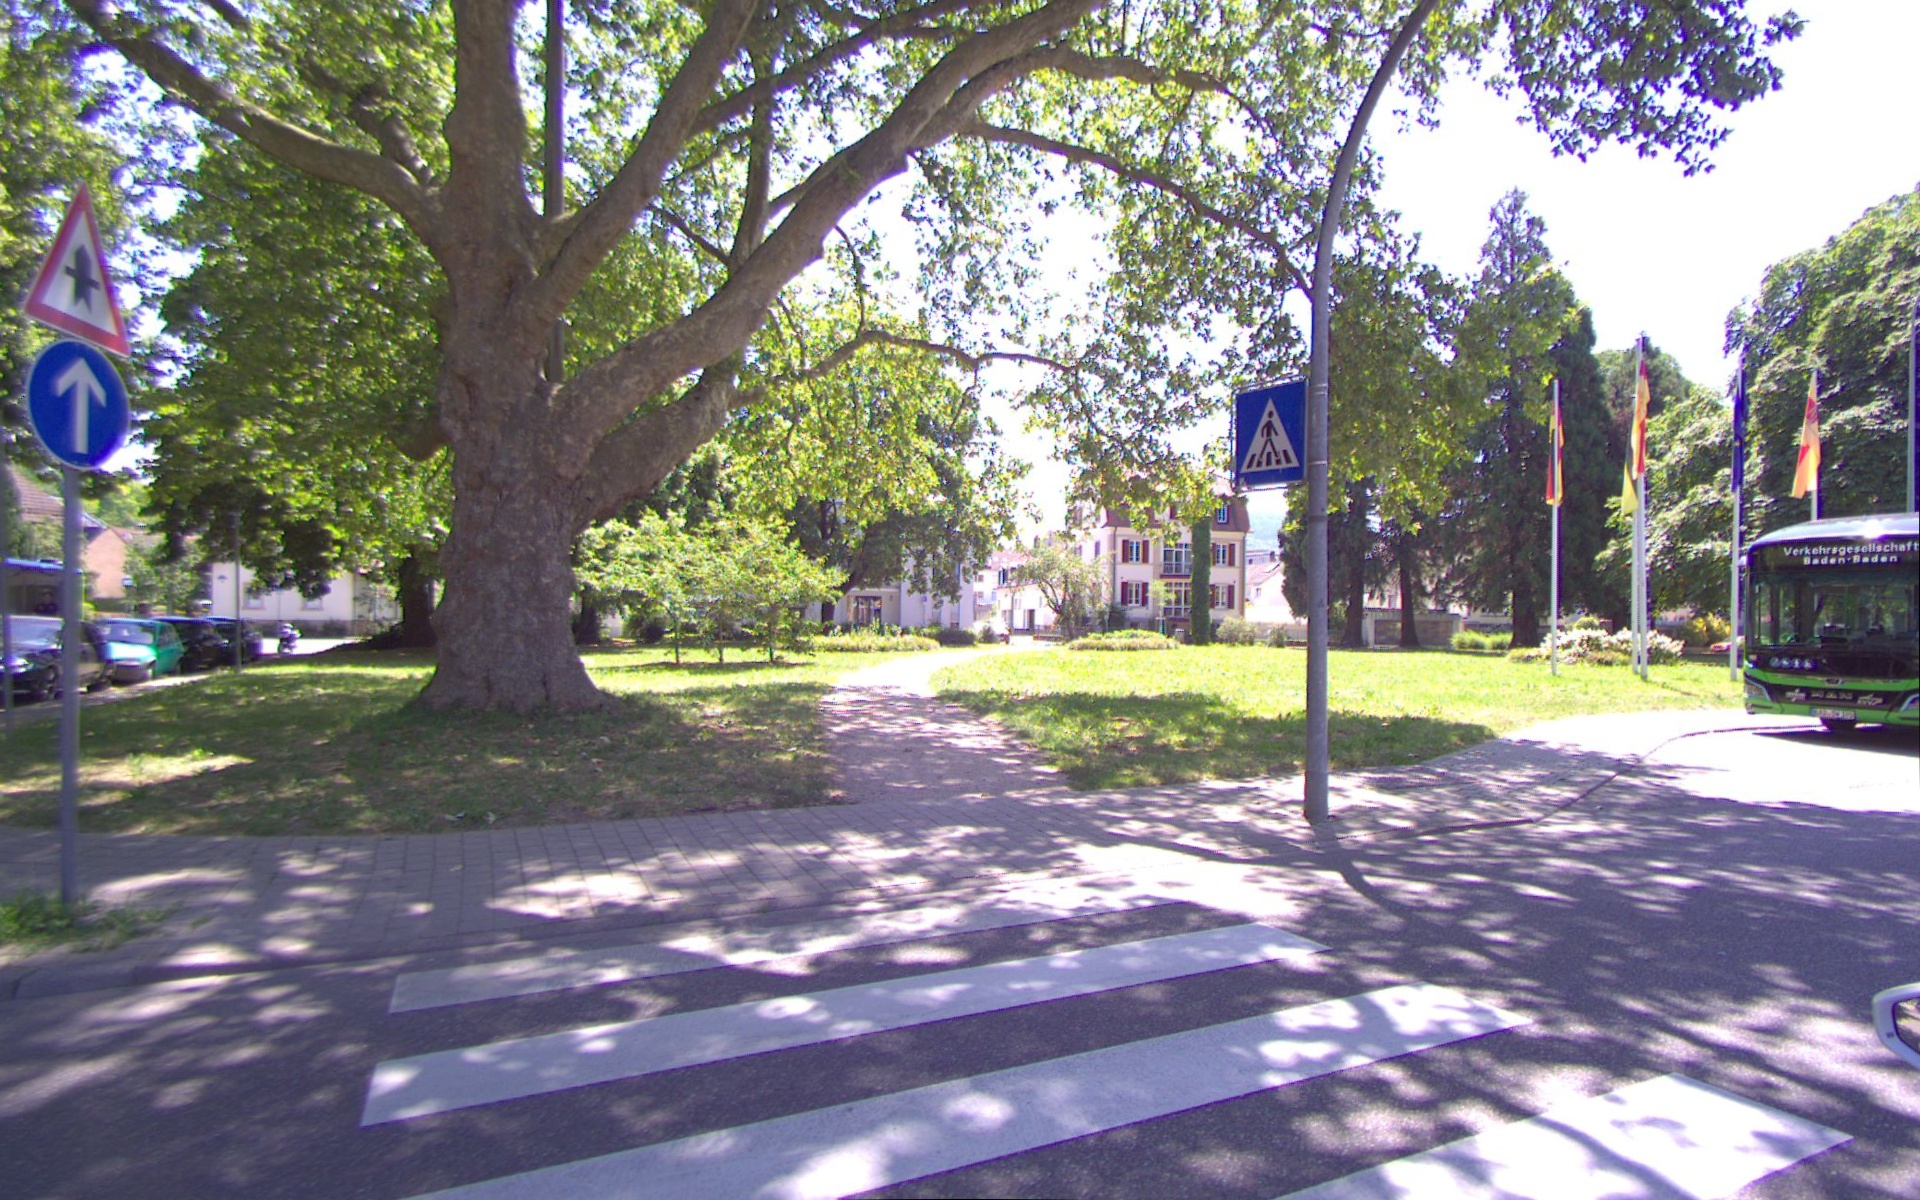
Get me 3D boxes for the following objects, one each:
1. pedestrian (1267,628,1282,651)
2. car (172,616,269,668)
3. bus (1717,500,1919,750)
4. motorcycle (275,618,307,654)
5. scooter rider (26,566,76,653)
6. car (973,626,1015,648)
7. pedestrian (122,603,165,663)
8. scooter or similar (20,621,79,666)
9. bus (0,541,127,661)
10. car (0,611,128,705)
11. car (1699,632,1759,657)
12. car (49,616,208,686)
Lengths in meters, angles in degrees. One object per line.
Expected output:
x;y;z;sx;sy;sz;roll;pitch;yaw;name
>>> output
19.706;2.476;62.921;0.811;1.389;0.618;3;1;24;pedestrian
-23.479;1.297;32.033;1.736;1.513;3.893;1;-1;-26;car
17.820;0.452;17.033;12.261;3.326;2.799;1;-1;-26;bus
-27.910;1.489;41.927;0.703;1.445;2.248;1;-1;-24;motorcycle
-25.150;0.267;27.795;0.730;2.348;0.922;1;-1;-23;scooter rider
2.612;2.903;77.597;1.969;1.604;3.985;2;-3;-18;car
-25.075;1.006;30.852;0.711;1.826;0.937;1;-1;-20;pedestrian
-25.160;1.183;27.776;0.730;1.199;1.511;1;-1;-23;scooter or similar
-29.037;0.027;29.654;2.839;3.338;15.851;1;-1;-25;bus
-16.856;0.968;18.095;1.733;1.458;4.475;3;-2;-25;car
63.448;3.672;82.844;3.933;1.862;1.870;2;1;-15;car
-19.437;1.133;23.725;1.732;1.458;4.740;1;-1;-25;car
